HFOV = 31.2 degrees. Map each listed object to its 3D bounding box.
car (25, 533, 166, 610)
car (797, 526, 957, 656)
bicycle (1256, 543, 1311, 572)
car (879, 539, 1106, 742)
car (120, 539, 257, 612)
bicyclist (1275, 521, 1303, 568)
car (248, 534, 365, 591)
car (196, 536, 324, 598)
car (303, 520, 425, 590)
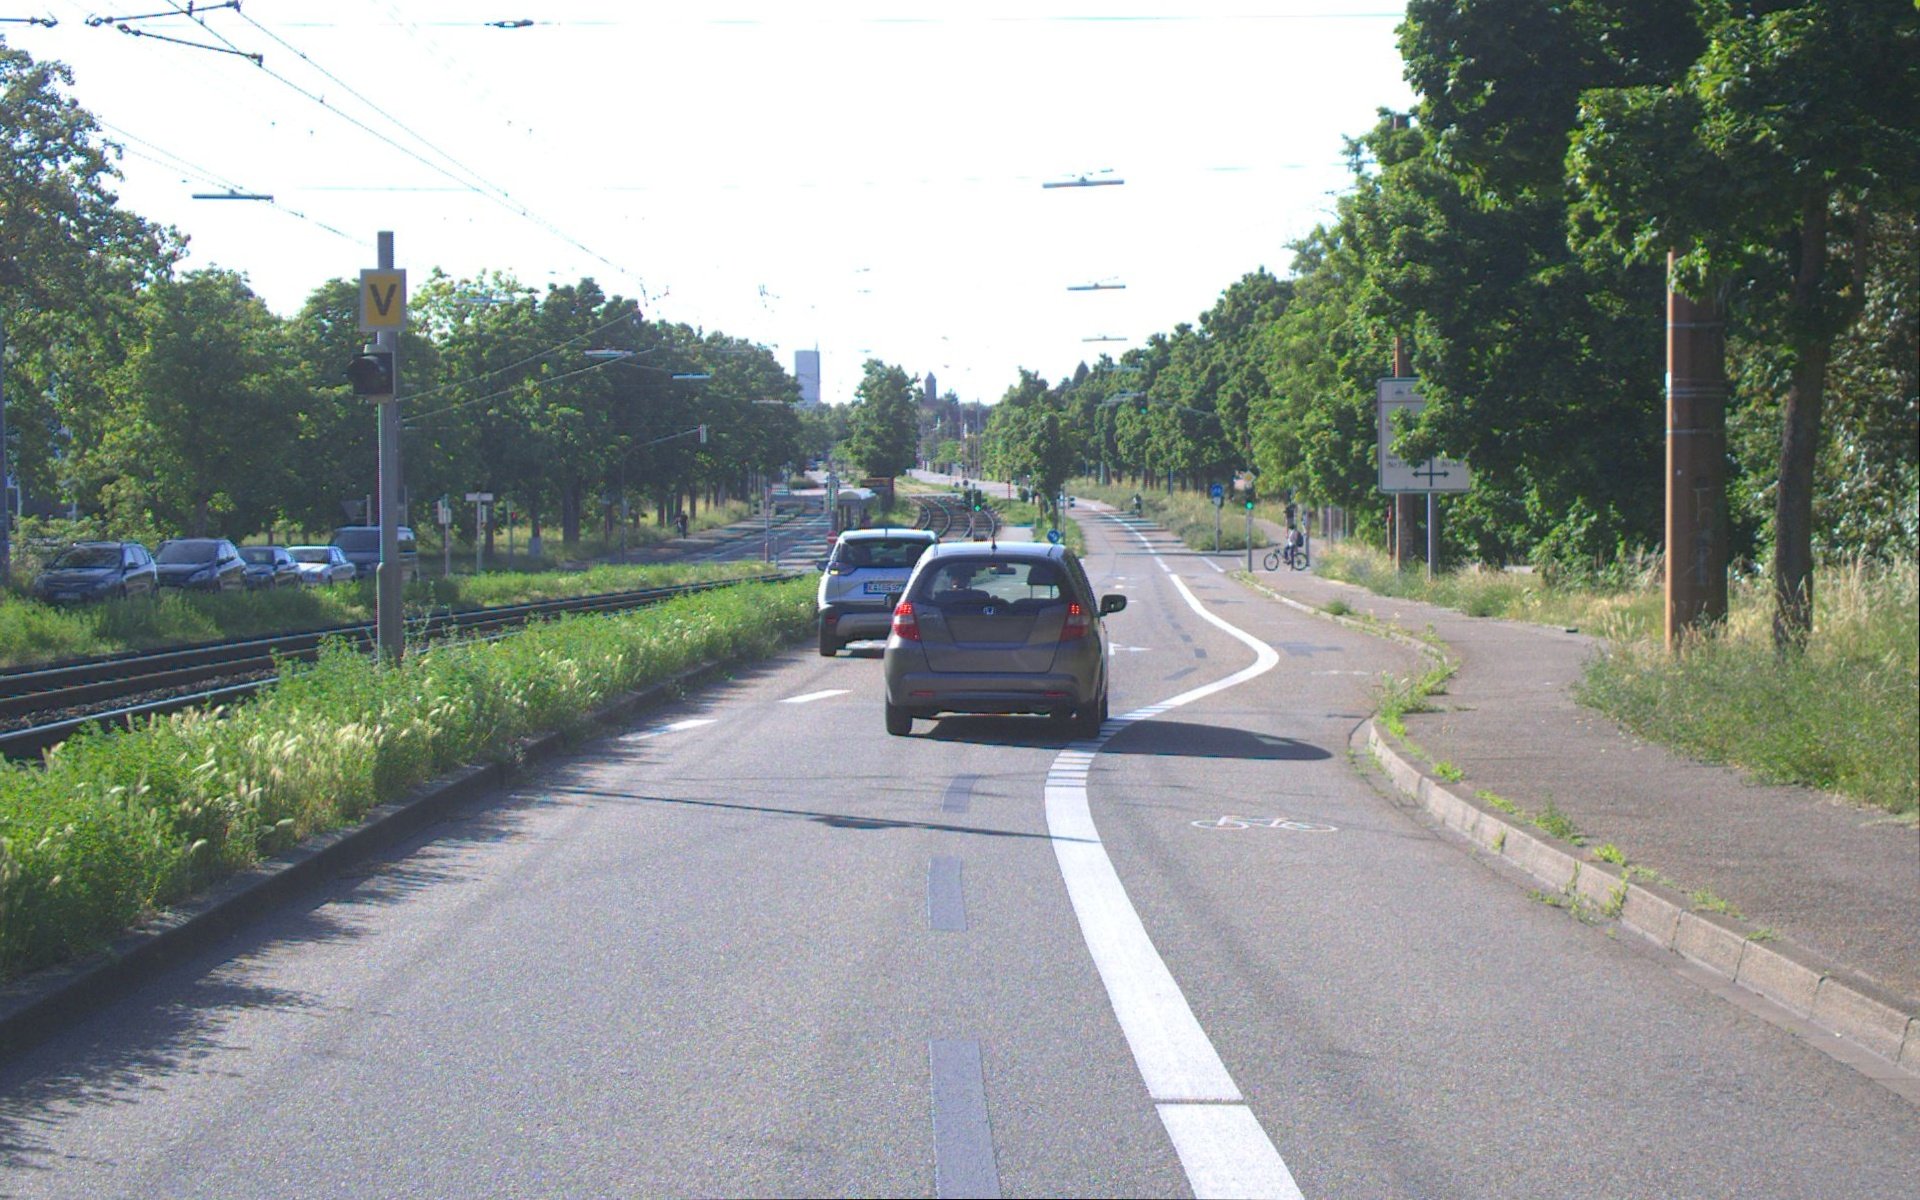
[{"bbox_3d":[-17.839,-0.606,71.133,1.735,1.489,4.328,1,1,1],"label":"car"},{"bbox_3d":[-1.027,-0.154,44.452,1.851,1.601,4.255,0,1,2],"label":"car"},{"bbox_3d":[12.139,-1.593,128.851,1.921,0.994,0.764,-2,0,14],"label":"bicycle"},{"bbox_3d":[0.289,0.271,27.990,1.707,1.503,4.000,0,1,1],"label":"car"},{"bbox_3d":[-17.438,-0.588,77.894,1.993,1.569,4.435,0,1,2],"label":"car"},{"bbox_3d":[12.330,-2.069,128.792,0.910,1.739,0.764,-1,1,14],"label":"bicyclist"},{"bbox_3d":[-17.036,-0.997,89.835,1.928,1.432,4.694,0,1,3],"label":"car"},{"bbox_3d":[-17.025,-0.824,83.822,1.994,1.432,4.414,0,1,3],"label":"car"},{"bbox_3d":[-16.624,-1.278,96.188,2.197,1.885,4.790,0,1,5],"label":"car"}]
